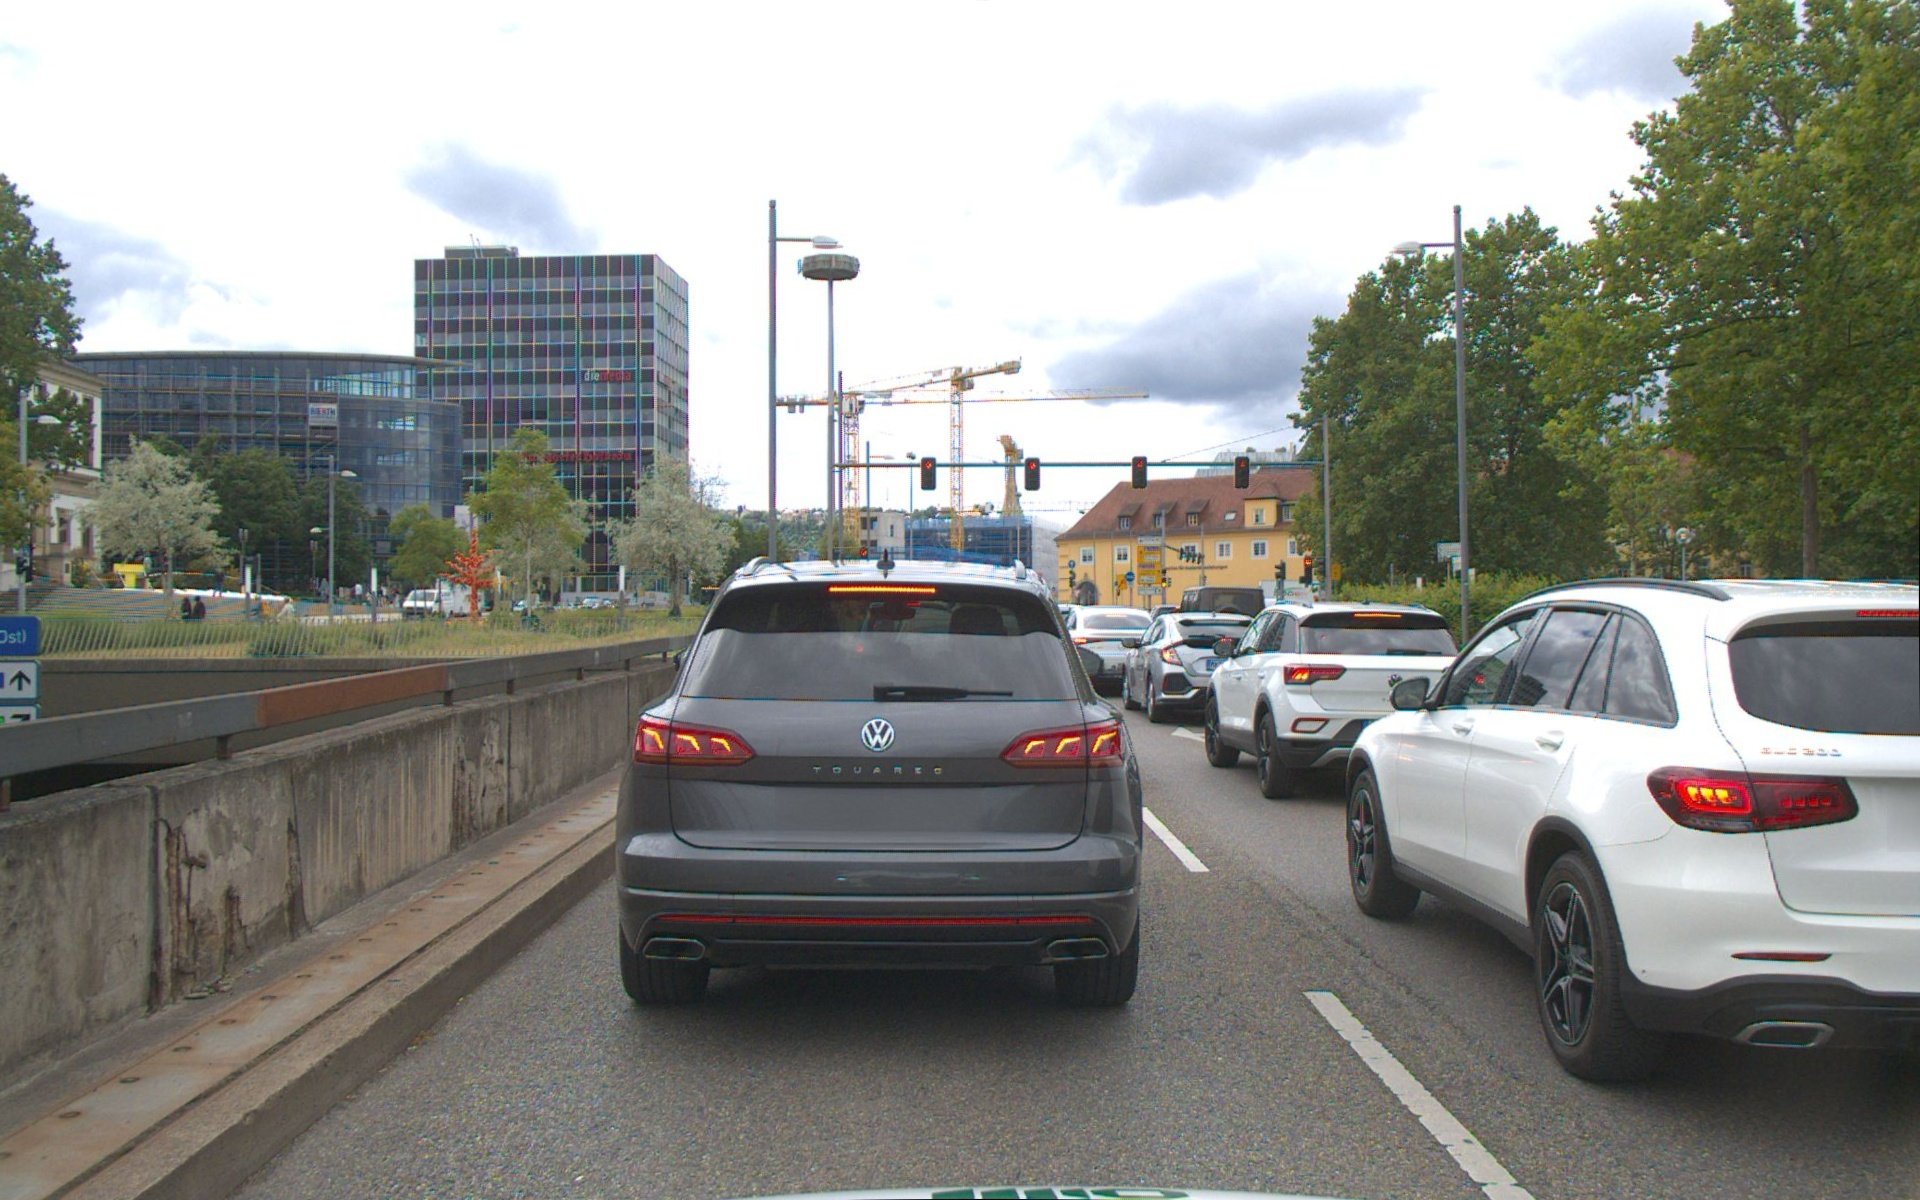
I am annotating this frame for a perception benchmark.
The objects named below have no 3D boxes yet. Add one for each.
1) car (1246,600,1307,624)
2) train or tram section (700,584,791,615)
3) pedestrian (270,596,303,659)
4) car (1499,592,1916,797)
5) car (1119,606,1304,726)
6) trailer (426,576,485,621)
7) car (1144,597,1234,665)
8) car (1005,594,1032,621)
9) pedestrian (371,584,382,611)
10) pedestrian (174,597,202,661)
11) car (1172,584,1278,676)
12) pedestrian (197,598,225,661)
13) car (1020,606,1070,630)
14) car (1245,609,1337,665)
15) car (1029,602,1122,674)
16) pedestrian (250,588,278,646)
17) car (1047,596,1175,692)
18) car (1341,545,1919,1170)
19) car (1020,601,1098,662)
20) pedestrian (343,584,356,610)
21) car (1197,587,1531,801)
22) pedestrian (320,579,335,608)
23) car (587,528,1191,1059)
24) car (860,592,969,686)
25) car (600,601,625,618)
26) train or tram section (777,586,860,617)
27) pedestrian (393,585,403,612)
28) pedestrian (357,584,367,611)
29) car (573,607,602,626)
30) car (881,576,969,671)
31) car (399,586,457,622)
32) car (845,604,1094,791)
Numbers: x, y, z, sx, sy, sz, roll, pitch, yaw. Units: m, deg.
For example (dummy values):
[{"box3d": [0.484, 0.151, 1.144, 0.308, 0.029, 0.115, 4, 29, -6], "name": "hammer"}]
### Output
[{"box3d": [23.348, 0.863, 121.899, 4.029, 1.638, 1.823, 1, -2, 35], "name": "car"}, {"box3d": [-23.400, -0.057, 180.245, 10.197, 3.062, 2.592, 1, -2, 28], "name": "train or tram section"}, {"box3d": [-22.312, 0.916, 54.802, 0.842, 2.049, 0.629, 0, 1, -2], "name": "pedestrian"}, {"box3d": [6.818, 0.780, 15.674, 1.953, 1.668, 4.303, 0, 0, -1], "name": "car"}, {"box3d": [3.342, 0.849, 22.801, 1.887, 1.457, 4.489, 1, -1, 0], "name": "car"}, {"box3d": [-31.620, -0.121, 103.822, 1.996, 2.650, 5.507, 2, 1, -1], "name": "trailer"}, {"box3d": [6.218, 0.830, 45.344, 1.871, 1.727, 4.011, 2, -1, 0], "name": "car"}, {"box3d": [3.954, 0.518, 112.123, 1.586, 1.656, 3.999, 2, -1, 0], "name": "car"}, {"box3d": [-44.526, -0.227, 126.158, 0.728, 2.049, 0.788, -1, 1, -21], "name": "pedestrian"}, {"box3d": [-25.338, 0.944, 54.304, 0.781, 2.049, 0.829, -1, 0, -28], "name": "pedestrian"}, {"box3d": [6.334, 0.714, 39.880, 1.871, 2.049, 4.011, 2, -1, 0], "name": "car"}, {"box3d": [-24.830, 0.974, 54.853, 0.781, 2.049, 0.829, -1, 0, -28], "name": "pedestrian"}, {"box3d": [7.869, 1.663, 153.988, 4.367, 2.049, 1.697, 1, -2, 33], "name": "car"}, {"box3d": [9.261, 1.024, 46.483, 1.722, 1.472, 3.632, 2, -1, -2], "name": "car"}, {"box3d": [2.613, 0.866, 38.334, 1.887, 1.556, 4.047, 1, -1, 0], "name": "car"}, {"box3d": [-24.984, 0.609, 59.373, 0.716, 2.047, 0.628, 0, 4, -8], "name": "pedestrian"}, {"box3d": [2.614, 0.749, 29.514, 1.887, 1.556, 4.489, 1, -1, 0], "name": "car"}, {"box3d": [3.000, 0.670, 6.711, 1.887, 1.682, 4.490, 1, 1, 0], "name": "car"}, {"box3d": [2.623, 0.837, 44.622, 1.887, 1.556, 4.047, 1, -1, 0], "name": "car"}, {"box3d": [-47.995, -0.254, 129.972, 0.723, 2.049, 0.793, 0, 1, 0], "name": "pedestrian"}, {"box3d": [3.348, 0.732, 14.637, 1.887, 1.578, 4.489, 1, -1, 0], "name": "car"}, {"box3d": [-44.548, -0.471, 116.482, 0.724, 2.049, 1.113, 0, 1, -6], "name": "pedestrian"}, {"box3d": [-0.259, 0.628, 7.276, 1.912, 1.680, 3.999, 1, 0, -1], "name": "car"}, {"box3d": [-0.860, 0.702, 31.642, 1.912, 1.627, 3.930, 2, 0, -1], "name": "car"}, {"box3d": [-33.218, 0.887, 158.175, 1.698, 1.521, 3.592, 2, -1, -3], "name": "car"}, {"box3d": [-15.042, 0.104, 175.802, 8.750, 3.062, 2.593, 1, -2, 28], "name": "train or tram section"}, {"box3d": [-43.207, -0.150, 127.125, 0.728, 2.049, 1.108, -1, 1, -21], "name": "pedestrian"}, {"box3d": [-46.872, -0.214, 129.680, 0.728, 2.049, 0.788, -1, 1, -21], "name": "pedestrian"}, {"box3d": [-31.048, 1.386, 137.827, 1.698, 1.521, 3.592, 2, -1, -3], "name": "car"}, {"box3d": [-0.828, 0.535, 39.119, 1.912, 2.053, 3.930, 2, 0, -1], "name": "car"}, {"box3d": [-31.705, 0.223, 98.750, 1.953, 2.048, 4.692, 0, 1, 0], "name": "car"}, {"box3d": [0.038, 0.776, 14.950, 1.912, 1.408, 3.930, 2, 0, -1], "name": "car"}]
